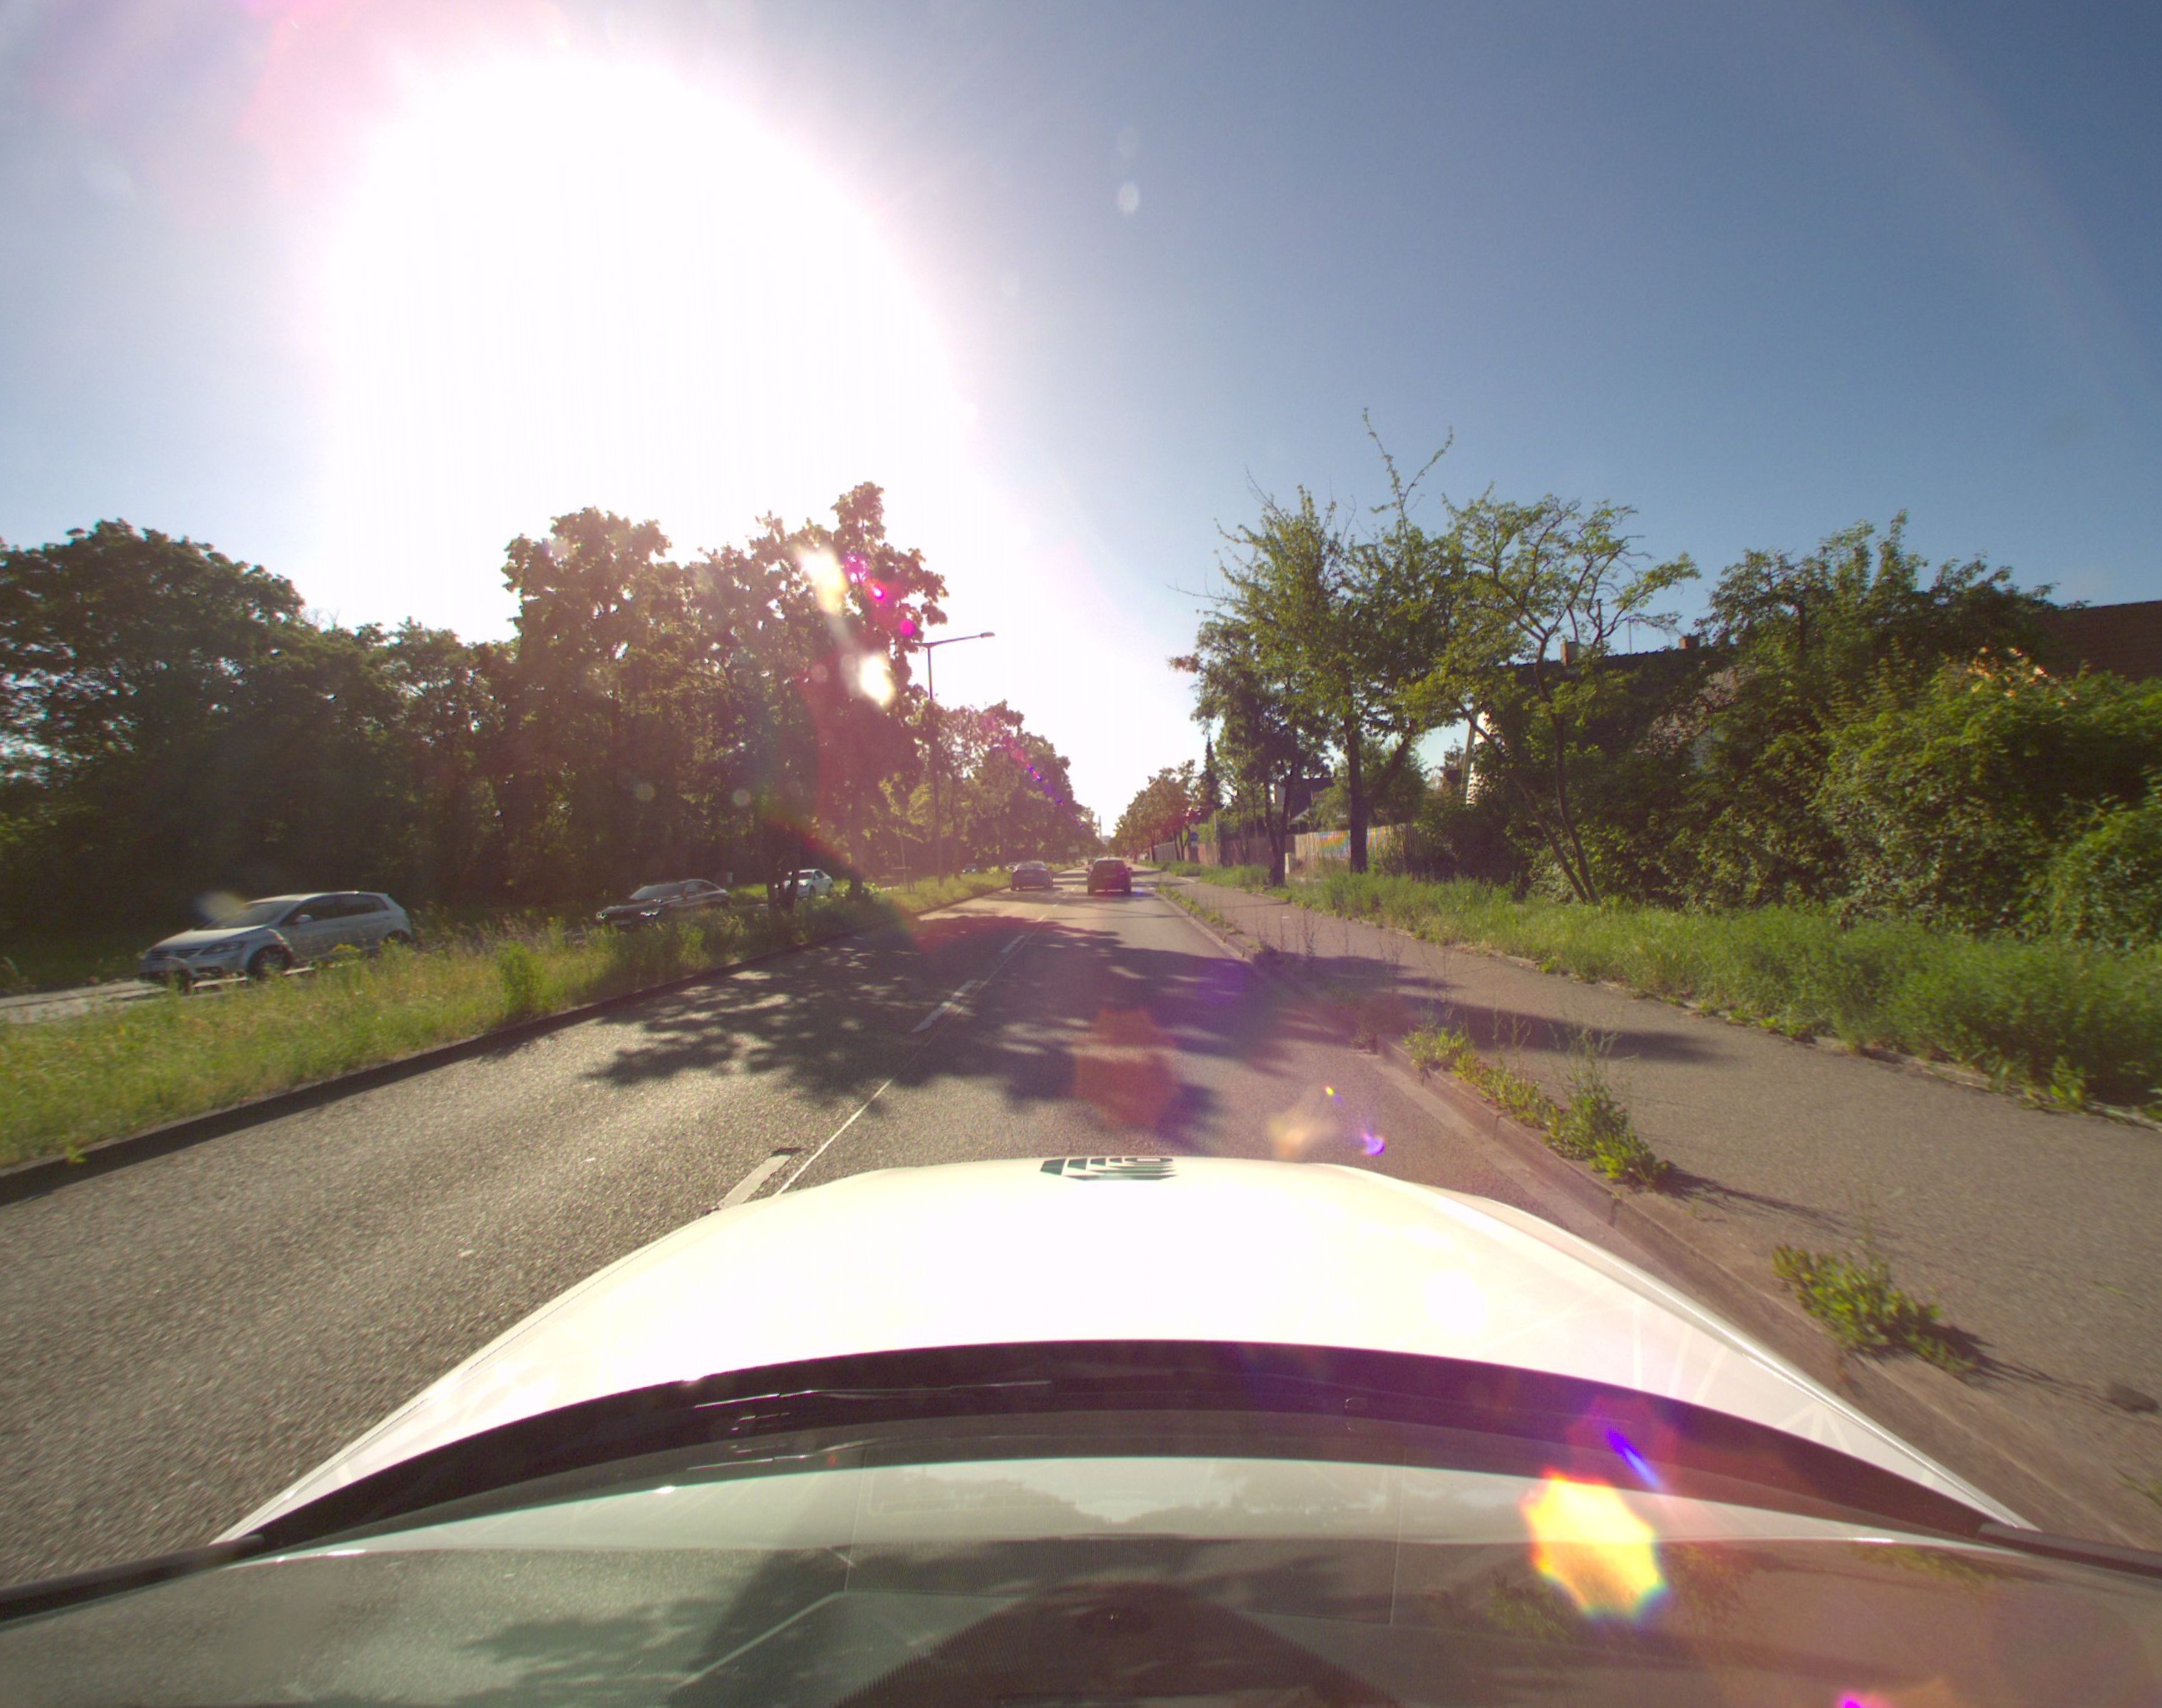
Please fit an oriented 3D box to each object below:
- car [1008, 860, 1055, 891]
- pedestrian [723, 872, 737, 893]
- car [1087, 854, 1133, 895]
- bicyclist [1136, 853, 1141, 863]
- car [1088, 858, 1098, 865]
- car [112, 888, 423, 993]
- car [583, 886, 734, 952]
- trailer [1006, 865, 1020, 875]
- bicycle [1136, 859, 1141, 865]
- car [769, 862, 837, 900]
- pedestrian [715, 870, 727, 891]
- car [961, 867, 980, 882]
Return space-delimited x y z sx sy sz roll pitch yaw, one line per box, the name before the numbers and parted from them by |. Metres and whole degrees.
car | -2.392 1.024 40.558 1.988 1.405 4.000 -2 0 1
pedestrian | -25.483 2.041 59.101 0.542 1.460 0.917 -3 0 2
car | 1.235 0.806 33.668 1.753 1.559 4.003 -1 0 3
bicyclist | 8.342 0.604 118.919 0.678 1.418 0.812 -2 0 1
car | 2.553 1.585 178.577 1.973 1.440 3.997 -3 1 -2
car | -15.272 1.543 15.673 1.706 1.472 4.066 -4 0 3
car | -11.274 1.683 22.113 1.695 1.395 4.252 -2 0 2
trailer | -11.196 2.637 134.181 1.734 1.424 4.499 -5 0 2
bicycle | 8.379 1.151 118.793 0.653 0.892 1.875 -2 0 2
car | -14.647 1.369 43.243 1.834 1.589 4.585 -8 0 0
pedestrian | -26.074 1.909 59.013 0.542 1.460 0.596 -2 0 1
car | -13.085 2.382 96.842 1.709 1.505 3.016 -6 1 0
